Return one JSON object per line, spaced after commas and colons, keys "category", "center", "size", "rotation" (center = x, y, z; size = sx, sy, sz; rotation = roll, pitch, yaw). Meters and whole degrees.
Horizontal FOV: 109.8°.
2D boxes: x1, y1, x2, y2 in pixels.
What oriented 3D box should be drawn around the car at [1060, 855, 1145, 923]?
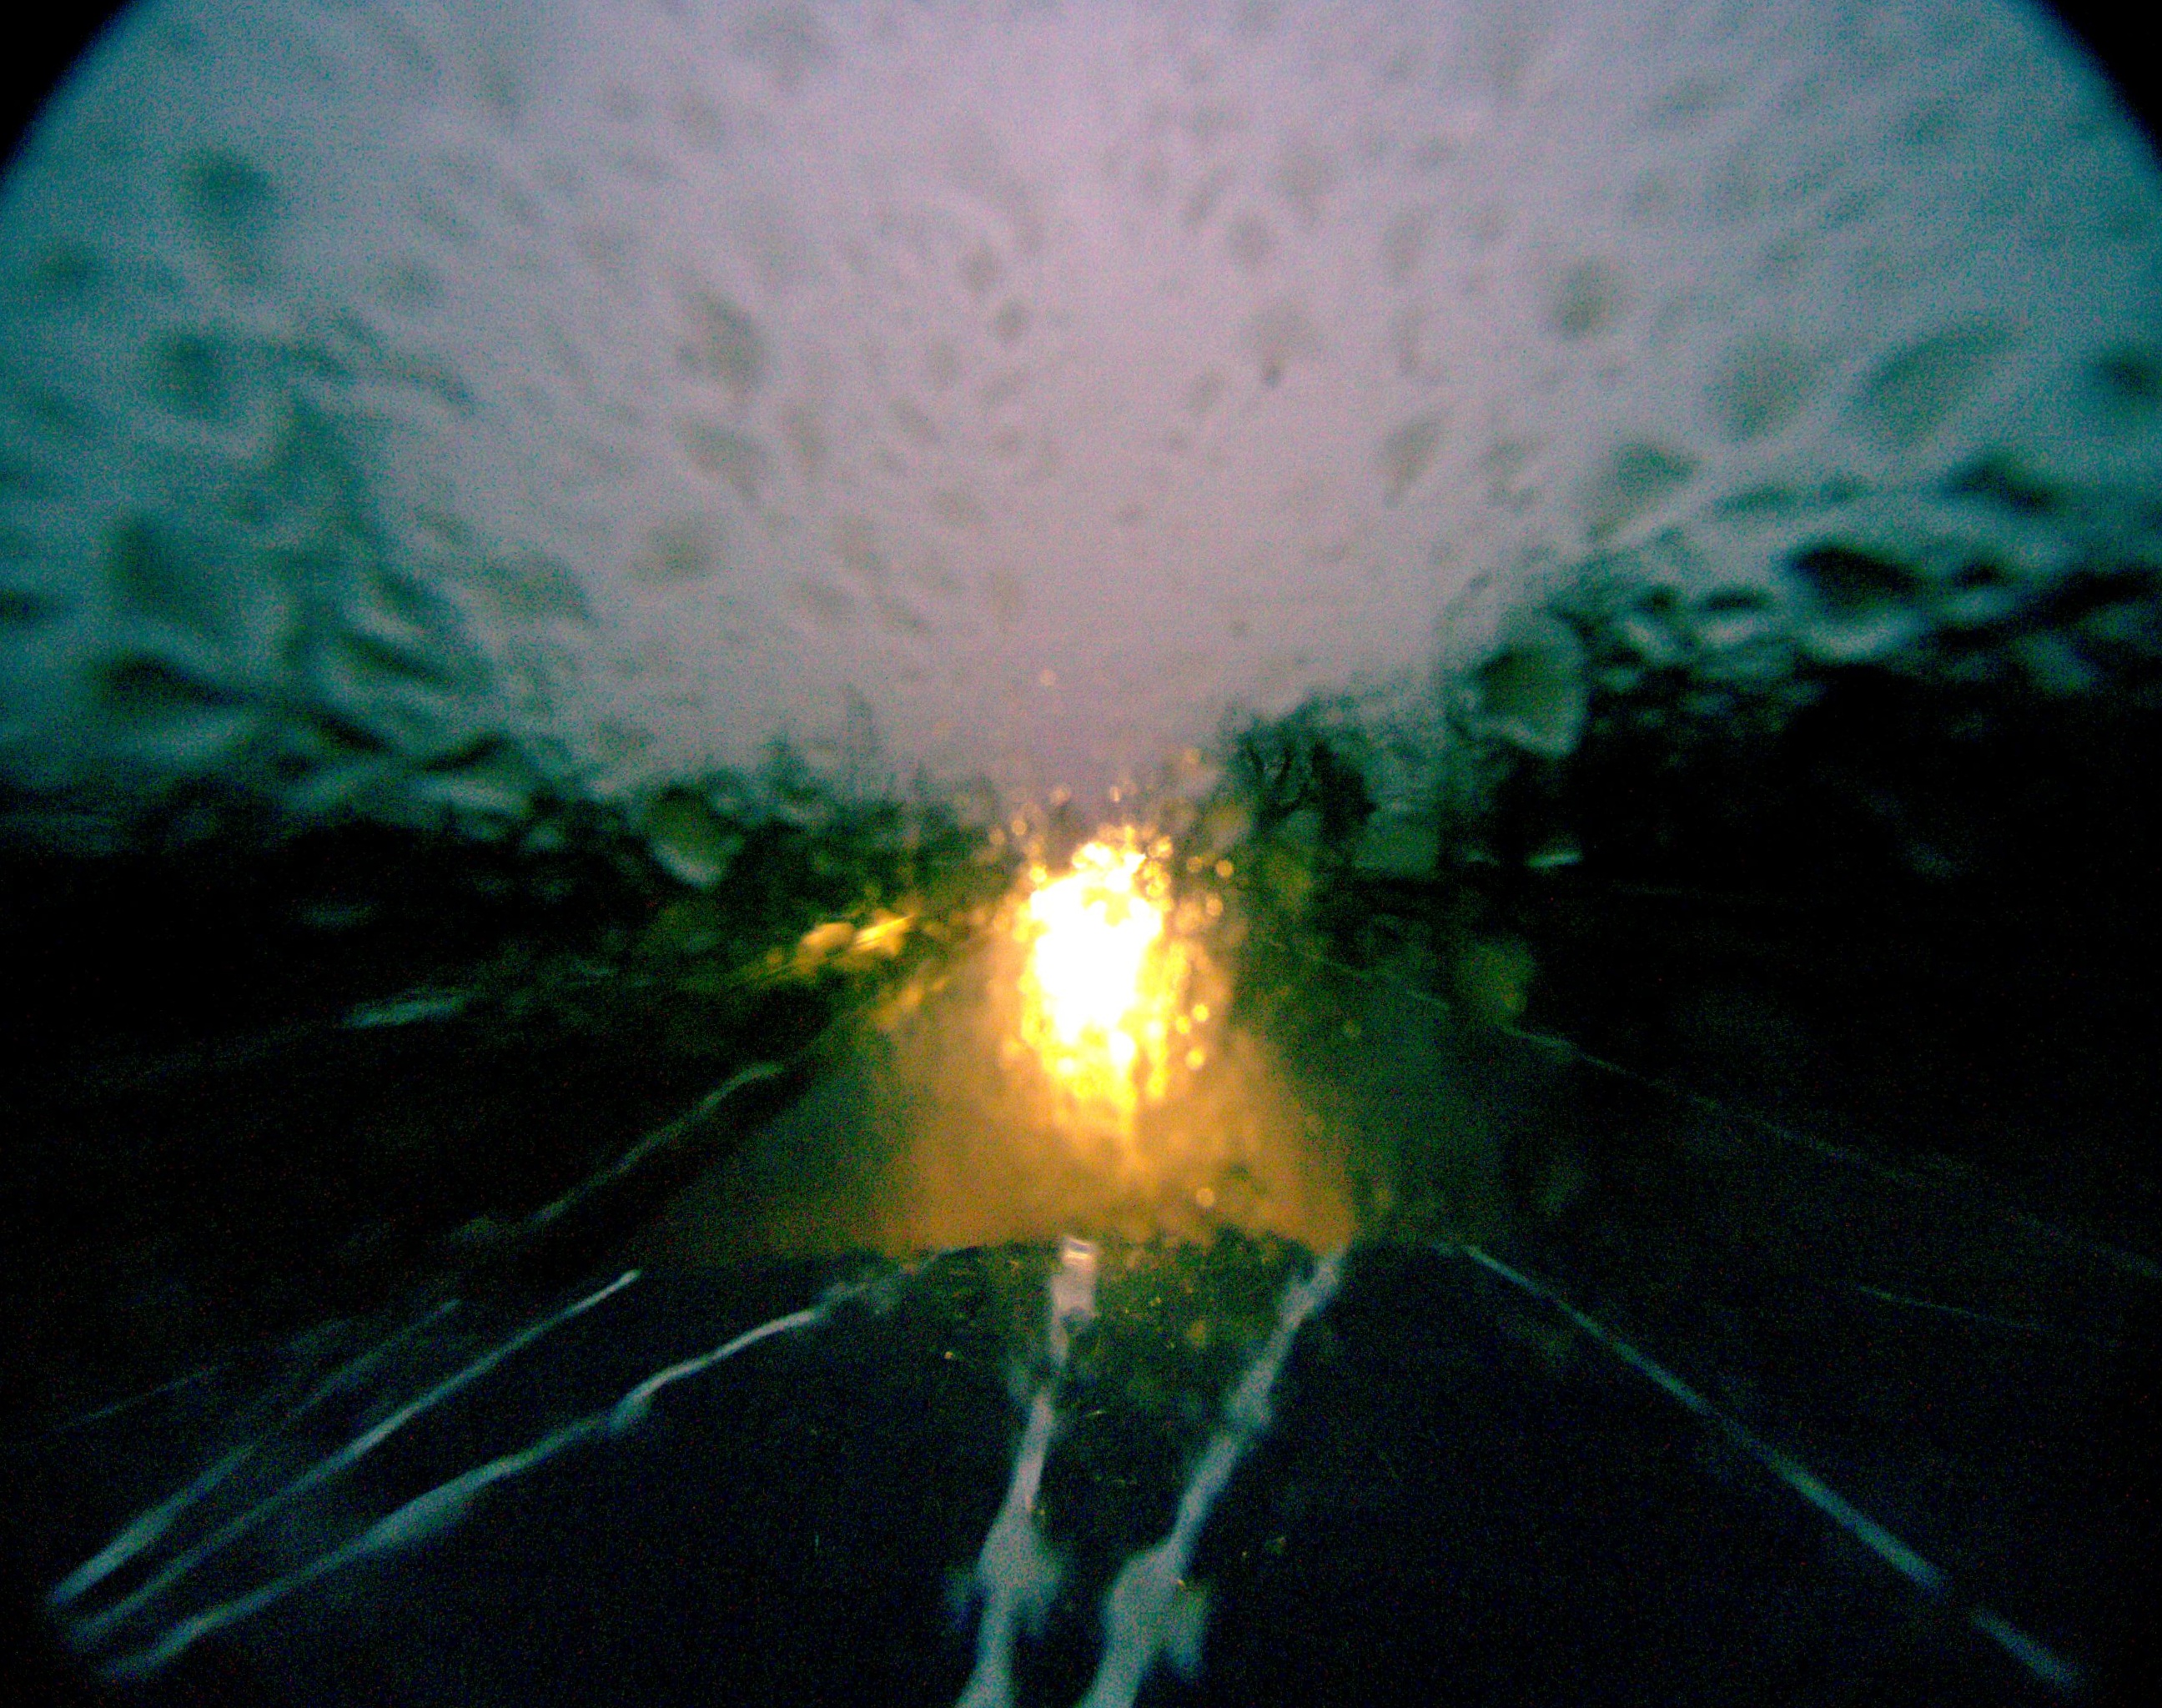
{"category": "car", "center": [0.489, 0.905, 21.924], "size": [2.102, 1.566, 4.798], "rotation": [-3, 1, -1]}
